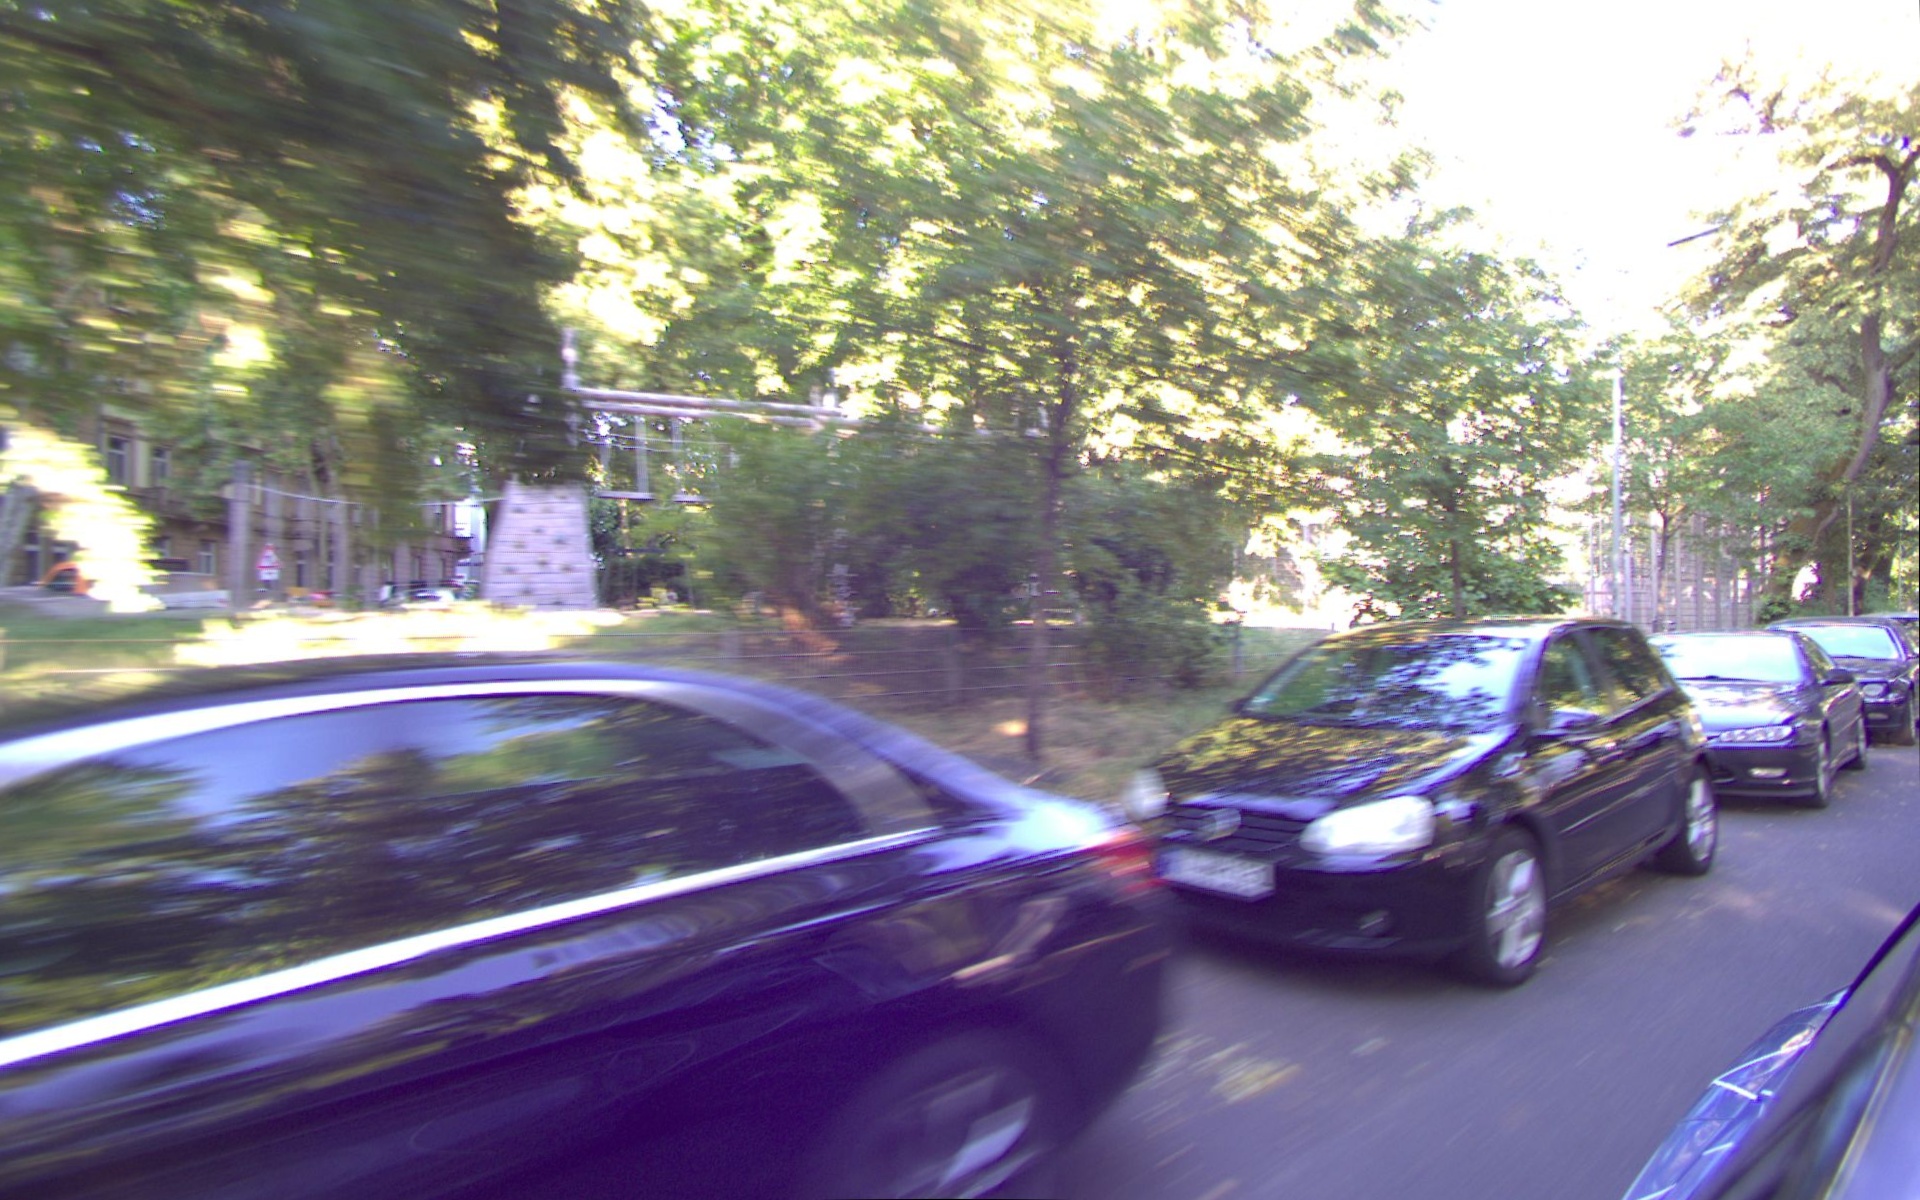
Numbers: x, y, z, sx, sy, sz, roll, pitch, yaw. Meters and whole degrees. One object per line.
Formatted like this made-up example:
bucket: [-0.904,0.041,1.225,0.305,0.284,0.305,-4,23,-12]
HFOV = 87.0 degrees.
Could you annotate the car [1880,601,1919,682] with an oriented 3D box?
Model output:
car: [19.153,0.764,19.510,4.006,1.472,1.682,0,-1,-42]

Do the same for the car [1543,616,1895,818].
car: [6.710,0.806,8.768,4.214,1.299,1.682,0,-1,-42]

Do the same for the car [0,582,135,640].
car: [-29.883,0.335,32.943,4.501,1.788,1.736,2,-1,-3]

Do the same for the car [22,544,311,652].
car: [-19.268,-0.043,24.759,5.409,2.487,2.370,0,0,4]

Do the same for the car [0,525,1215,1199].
car: [-1.587,0.700,1.721,4.410,1.545,1.683,0,-1,-40]

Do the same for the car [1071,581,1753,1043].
car: [2.656,0.721,5.417,4.211,1.545,1.683,0,-1,-40]

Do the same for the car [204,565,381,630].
car: [-19.345,-0.066,29.451,3.928,1.805,1.998,0,0,4]

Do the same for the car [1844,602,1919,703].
car: [15.481,0.773,16.277,1.680,1.472,4.011,-1,-1,44]

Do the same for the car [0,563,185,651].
car: [-19.585,0.147,22.096,3.928,1.805,1.998,0,0,4]

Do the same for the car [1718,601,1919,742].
car: [11.025,0.749,12.537,4.577,1.442,1.683,0,-1,-41]
